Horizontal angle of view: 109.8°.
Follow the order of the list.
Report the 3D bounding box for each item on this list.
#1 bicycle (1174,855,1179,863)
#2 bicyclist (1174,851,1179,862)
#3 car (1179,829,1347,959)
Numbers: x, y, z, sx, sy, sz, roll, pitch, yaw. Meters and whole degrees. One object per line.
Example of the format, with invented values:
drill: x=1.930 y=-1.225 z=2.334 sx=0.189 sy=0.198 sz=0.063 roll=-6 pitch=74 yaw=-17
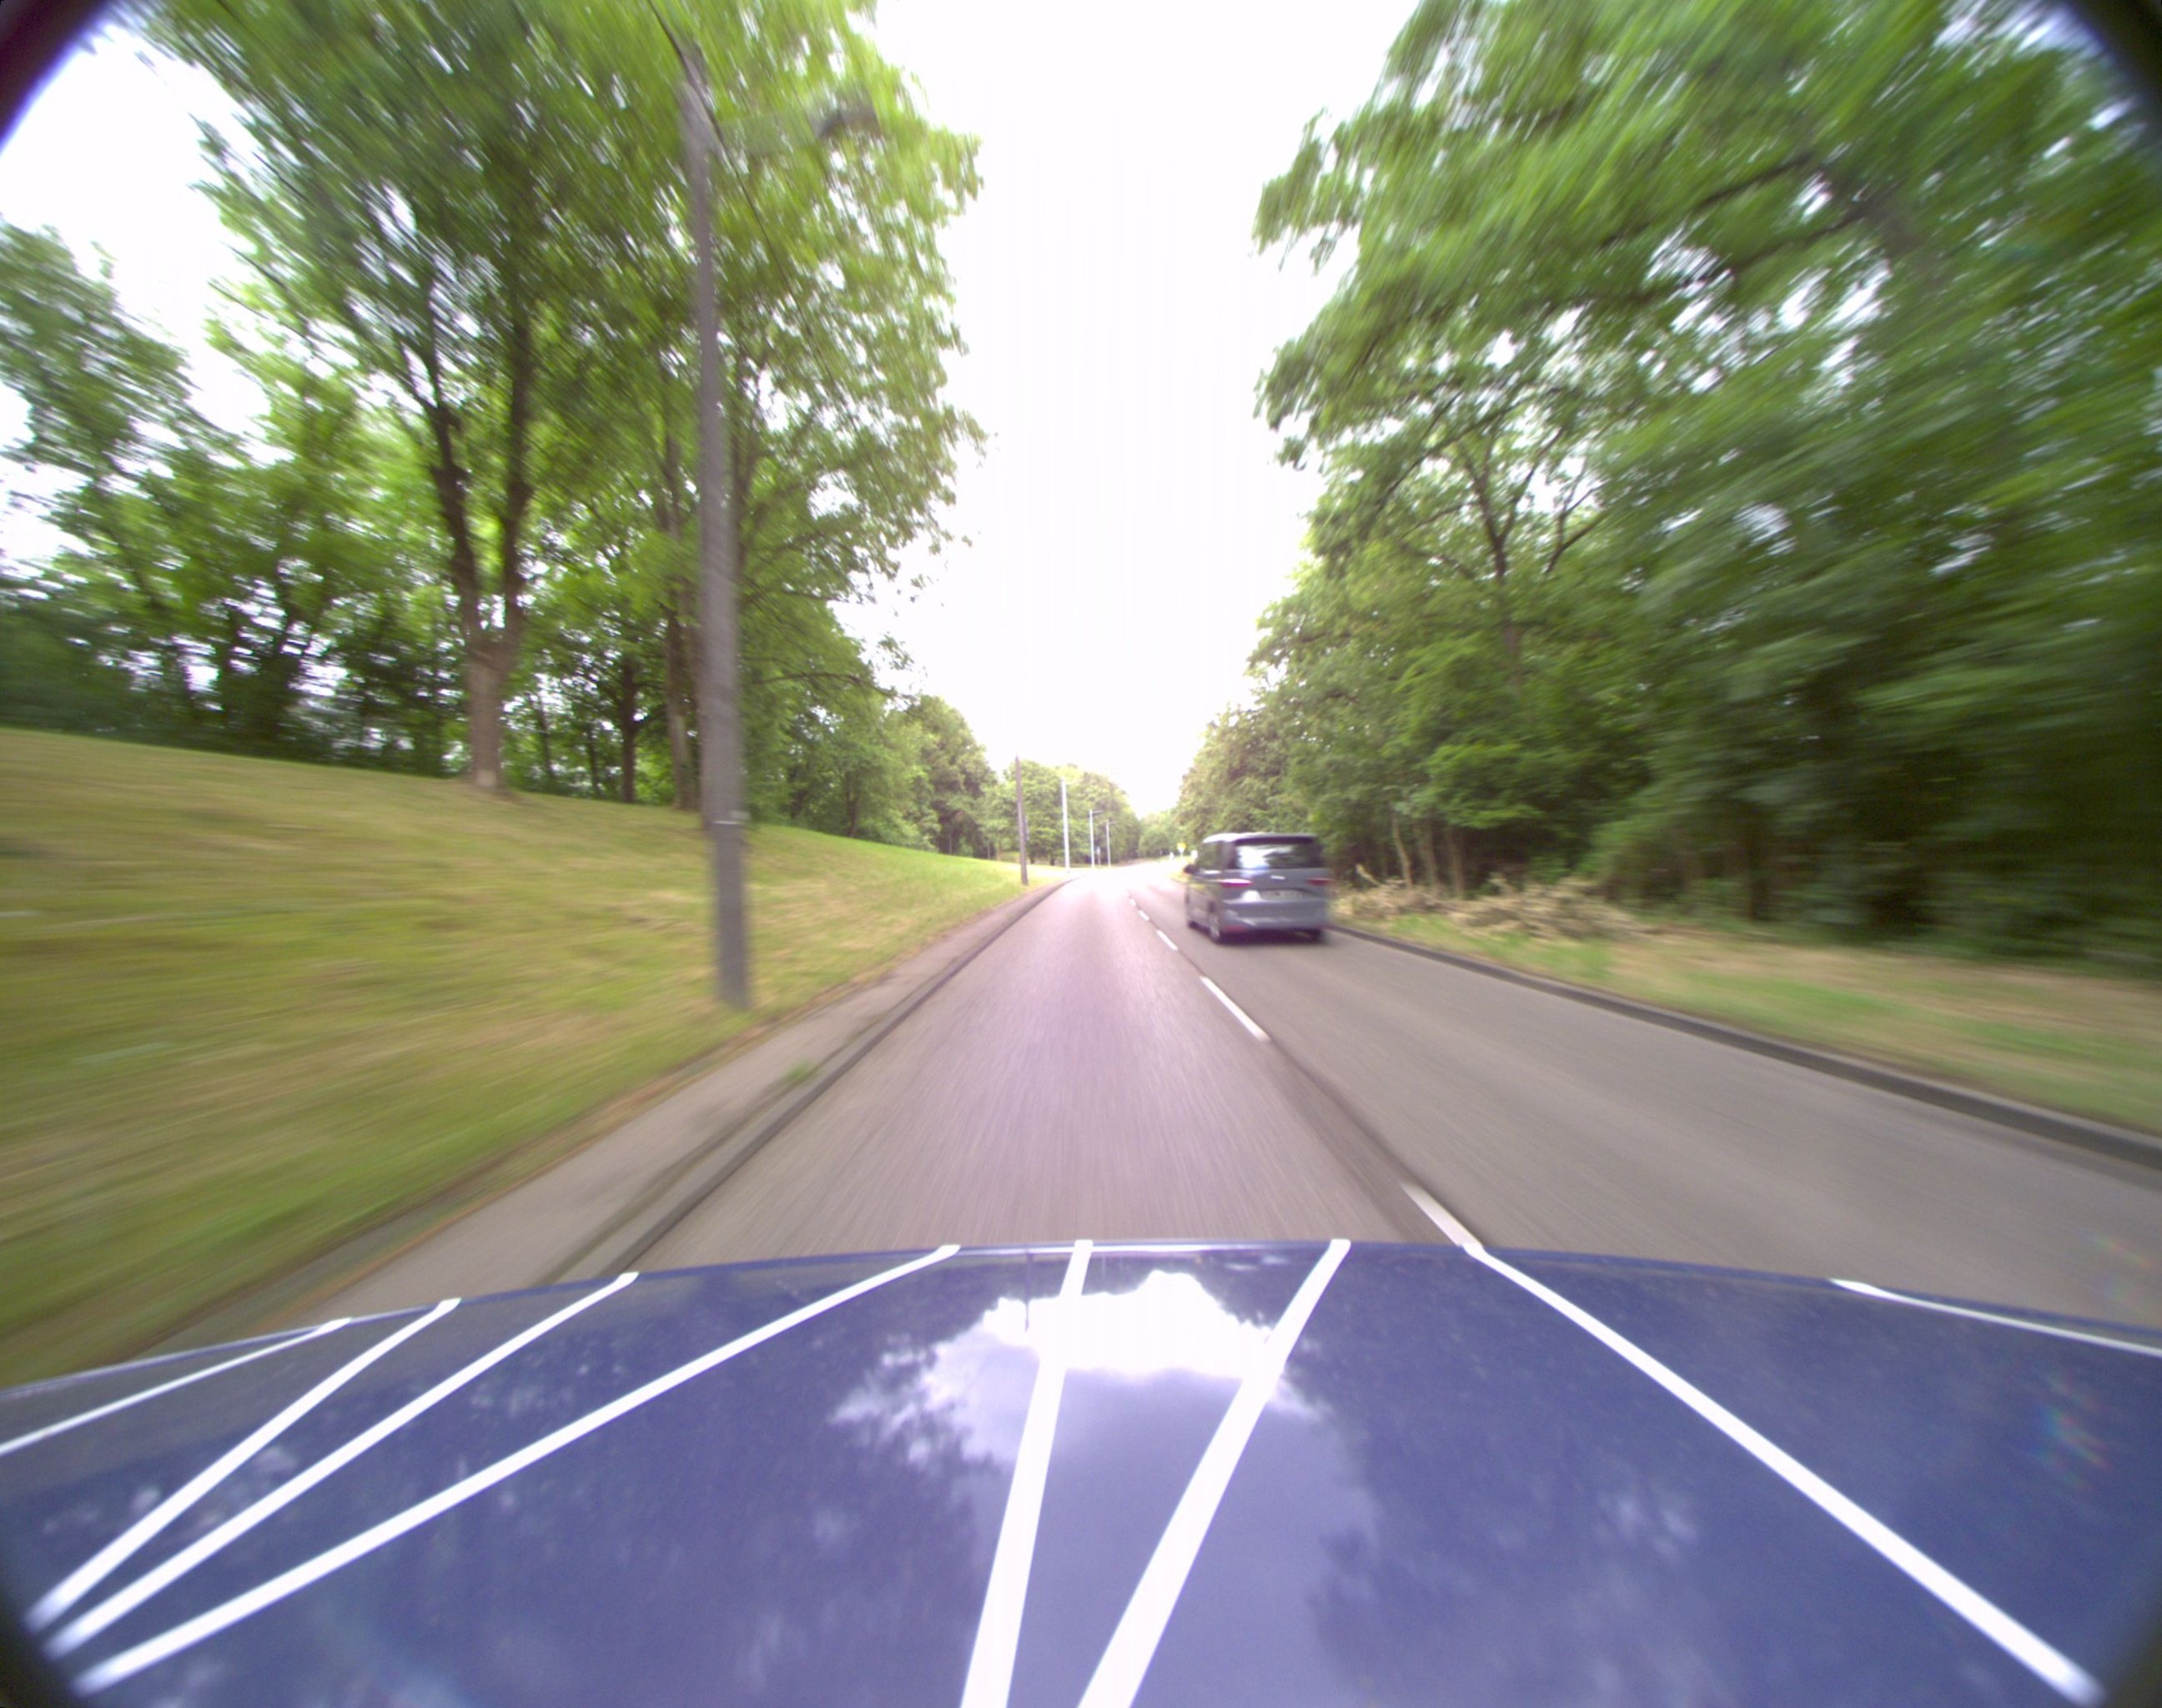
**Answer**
bicycle: x=13.578 y=0.713 z=108.092 sx=0.667 sy=1.068 sz=2.147 roll=-3 pitch=0 yaw=8
bicyclist: x=13.557 y=0.305 z=108.089 sx=0.667 sy=1.511 sz=1.272 roll=-3 pitch=0 yaw=8
car: x=3.162 y=0.610 z=14.361 sx=1.998 sy=1.936 sz=4.945 roll=-3 pitch=0 yaw=1
